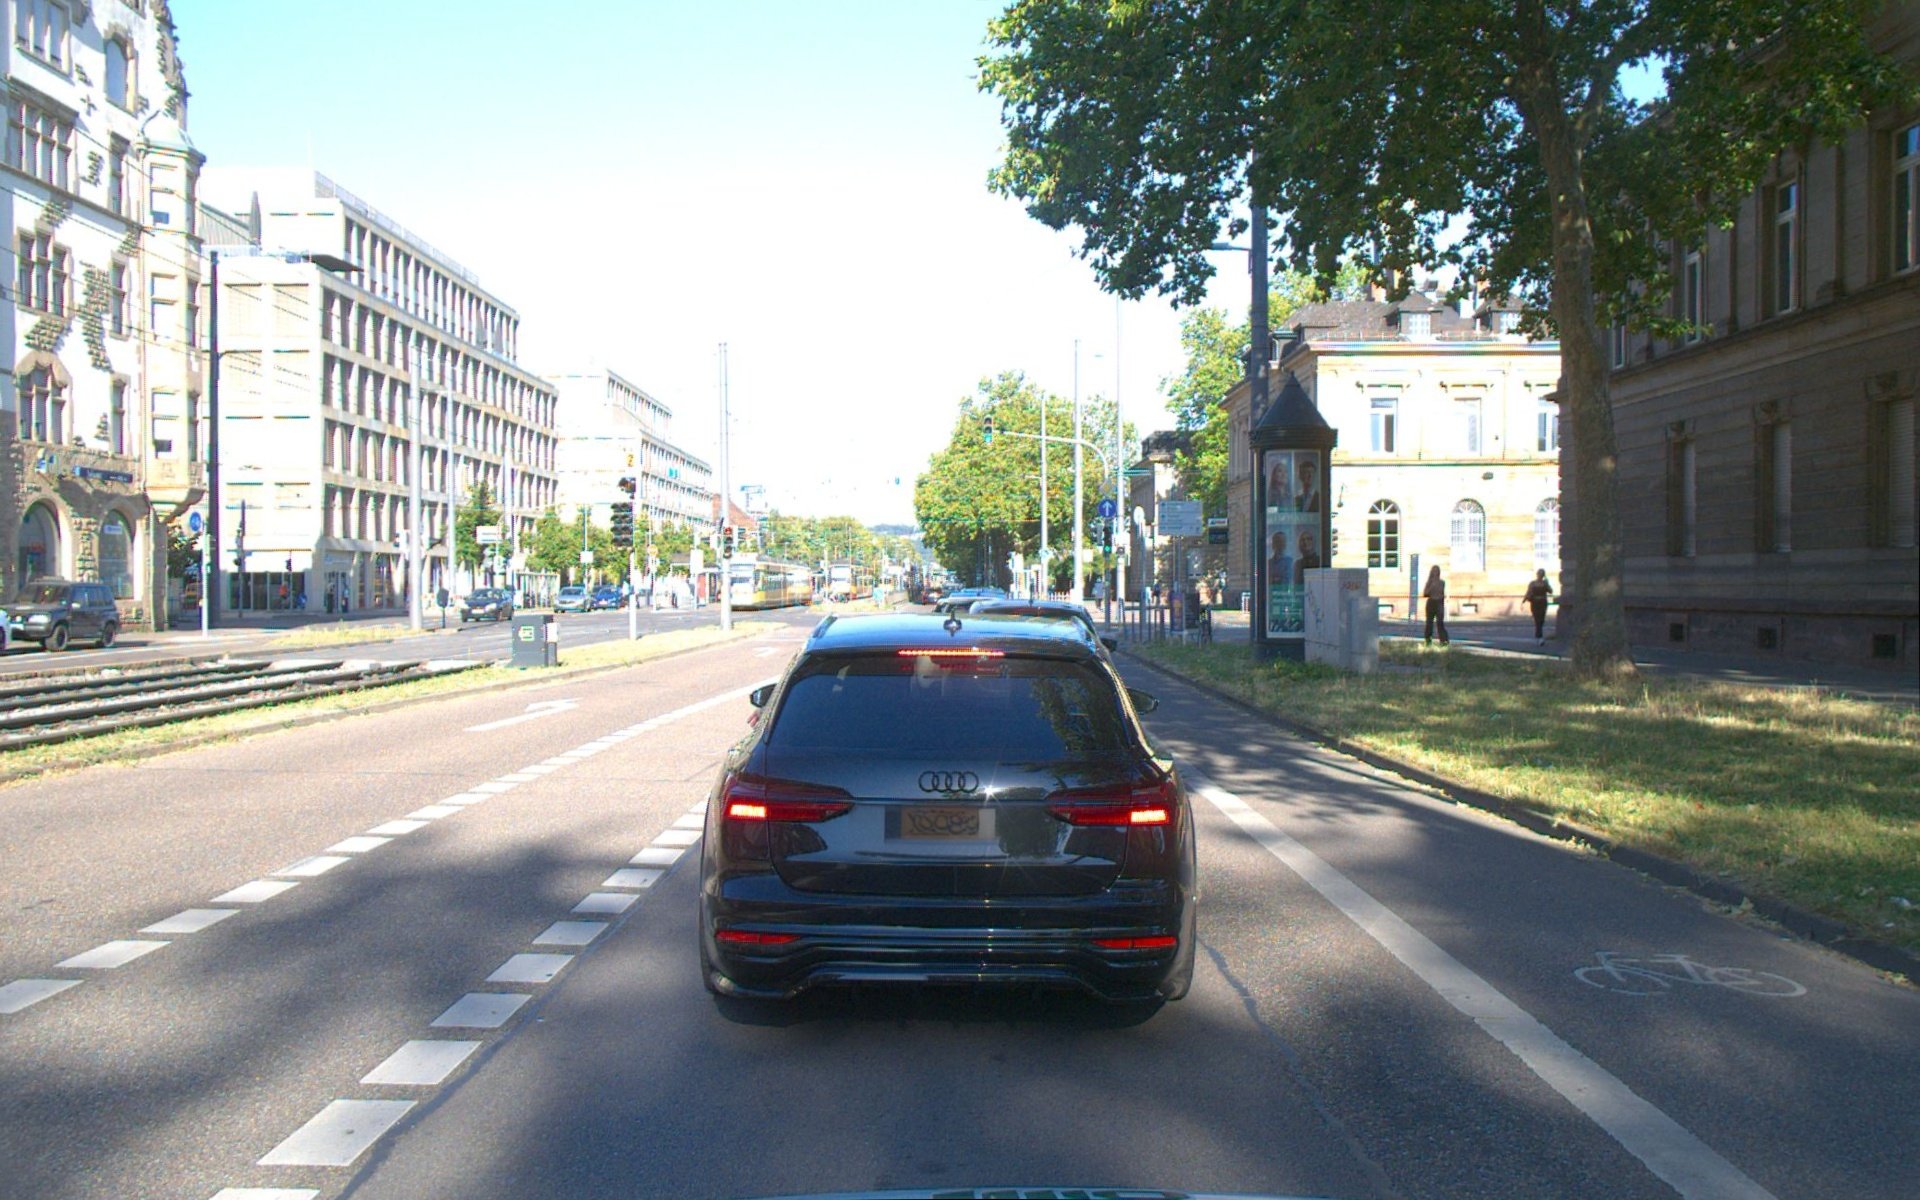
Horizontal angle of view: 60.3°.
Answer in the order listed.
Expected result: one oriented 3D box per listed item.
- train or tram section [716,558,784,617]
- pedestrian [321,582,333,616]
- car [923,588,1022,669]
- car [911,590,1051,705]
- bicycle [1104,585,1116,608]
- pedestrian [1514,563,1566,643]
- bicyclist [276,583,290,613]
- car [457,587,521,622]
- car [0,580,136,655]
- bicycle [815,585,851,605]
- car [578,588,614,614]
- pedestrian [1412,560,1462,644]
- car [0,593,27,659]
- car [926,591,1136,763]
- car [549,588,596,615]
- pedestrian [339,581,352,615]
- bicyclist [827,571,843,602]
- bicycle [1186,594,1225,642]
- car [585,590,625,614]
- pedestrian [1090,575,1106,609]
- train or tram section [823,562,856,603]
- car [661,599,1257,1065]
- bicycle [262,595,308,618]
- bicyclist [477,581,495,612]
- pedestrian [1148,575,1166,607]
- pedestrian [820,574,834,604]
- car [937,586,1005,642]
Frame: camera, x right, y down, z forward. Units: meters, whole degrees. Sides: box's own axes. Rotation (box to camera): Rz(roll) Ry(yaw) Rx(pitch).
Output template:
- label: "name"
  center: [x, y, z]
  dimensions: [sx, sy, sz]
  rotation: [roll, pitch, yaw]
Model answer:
- label: "train or tram section"
  center: [-13.398, -0.824, 106.436]
  dimensions: [2.755, 3.550, 13.203]
  rotation: [-1, 1, 0]
- label: "pedestrian"
  center: [-35.230, -0.076, 92.070]
  dimensions: [0.468, 1.876, 0.437]
  rotation: [-1, 0, -38]
- label: "car"
  center: [0.245, 0.546, 33.617]
  dimensions: [1.864, 1.512, 4.144]
  rotation: [1, 0, 0]
- label: "car"
  center: [0.290, 0.636, 24.302]
  dimensions: [1.864, 1.512, 4.144]
  rotation: [1, 0, 0]
- label: "bicycle"
  center: [7.604, -0.183, 83.900]
  dimensions: [0.426, 1.165, 1.340]
  rotation: [-1, 0, -2]
- label: "pedestrian"
  center: [12.185, 0.062, 34.768]
  dimensions: [0.753, 1.634, 0.986]
  rotation: [-1, 0, 1]
- label: "bicyclist"
  center: [-38.124, -0.113, 93.111]
  dimensions: [0.631, 1.715, 0.574]
  rotation: [-1, 0, -18]
- label: "car"
  center: [-20.620, 0.184, 72.535]
  dimensions: [1.784, 1.482, 4.163]
  rotation: [-1, 0, -3]
- label: "car"
  center: [-22.431, 0.393, 41.312]
  dimensions: [1.682, 1.704, 4.215]
  rotation: [2, 1, -2]
- label: "bicycle"
  center: [-7.492, -0.280, 97.479]
  dimensions: [1.974, 1.127, 0.761]
  rotation: [-1, 1, -17]
- label: "car"
  center: [-27.240, 0.049, 123.943]
  dimensions: [1.804, 1.844, 4.112]
  rotation: [-1, 0, -1]
- label: "pedestrian"
  center: [10.088, 0.027, 34.992]
  dimensions: [0.753, 1.739, 1.042]
  rotation: [-1, 0, 1]
- label: "car"
  center: [-22.372, 0.593, 35.925]
  dimensions: [1.682, 1.448, 4.654]
  rotation: [2, 1, -2]
- label: "car"
  center: [0.638, 0.683, 16.861]
  dimensions: [1.864, 1.512, 4.144]
  rotation: [1, 0, 0]
- label: "car"
  center: [-22.517, 0.058, 96.195]
  dimensions: [1.783, 1.482, 4.538]
  rotation: [-1, 0, -2]
- label: "pedestrian"
  center: [-34.370, -0.093, 92.484]
  dimensions: [0.527, 1.876, 0.437]
  rotation: [-1, 0, -38]
- label: "bicyclist"
  center: [-7.373, -0.792, 97.507]
  dimensions: [0.744, 1.850, 0.761]
  rotation: [-1, 0, -17]
- label: "bicycle"
  center: [5.718, 0.400, 38.575]
  dimensions: [0.529, 1.080, 1.770]
  rotation: [-1, 0, -4]
- label: "car"
  center: [-23.092, 0.121, 107.743]
  dimensions: [1.783, 1.482, 4.155]
  rotation: [-1, 0, -2]
- label: "pedestrian"
  center: [6.997, -0.403, 83.869]
  dimensions: [0.668, 1.689, 0.758]
  rotation: [-1, 0, -2]
- label: "train or tram section"
  center: [-10.873, -1.593, 150.163]
  dimensions: [2.556, 3.511, 11.128]
  rotation: [-1, 1, -2]
- label: "car"
  center: [0.001, 0.731, 7.294]
  dimensions: [1.864, 1.446, 4.144]
  rotation: [1, 0, 0]
- label: "bicycle"
  center: [-37.999, 0.342, 93.155]
  dimensions: [2.344, 1.236, 0.574]
  rotation: [-1, 0, -19]
- label: "bicyclist"
  center: [-24.938, -0.177, 87.024]
  dimensions: [0.671, 1.590, 0.785]
  rotation: [-1, 0, 1]
- label: "pedestrian"
  center: [11.648, -0.522, 97.701]
  dimensions: [0.959, 1.898, 0.826]
  rotation: [-1, 0, -1]
- label: "pedestrian"
  center: [-7.959, -0.656, 99.144]
  dimensions: [0.728, 1.772, 0.661]
  rotation: [-1, 0, -16]
- label: "car"
  center: [0.308, 0.390, 47.544]
  dimensions: [1.864, 1.512, 4.144]
  rotation: [1, 0, 0]
